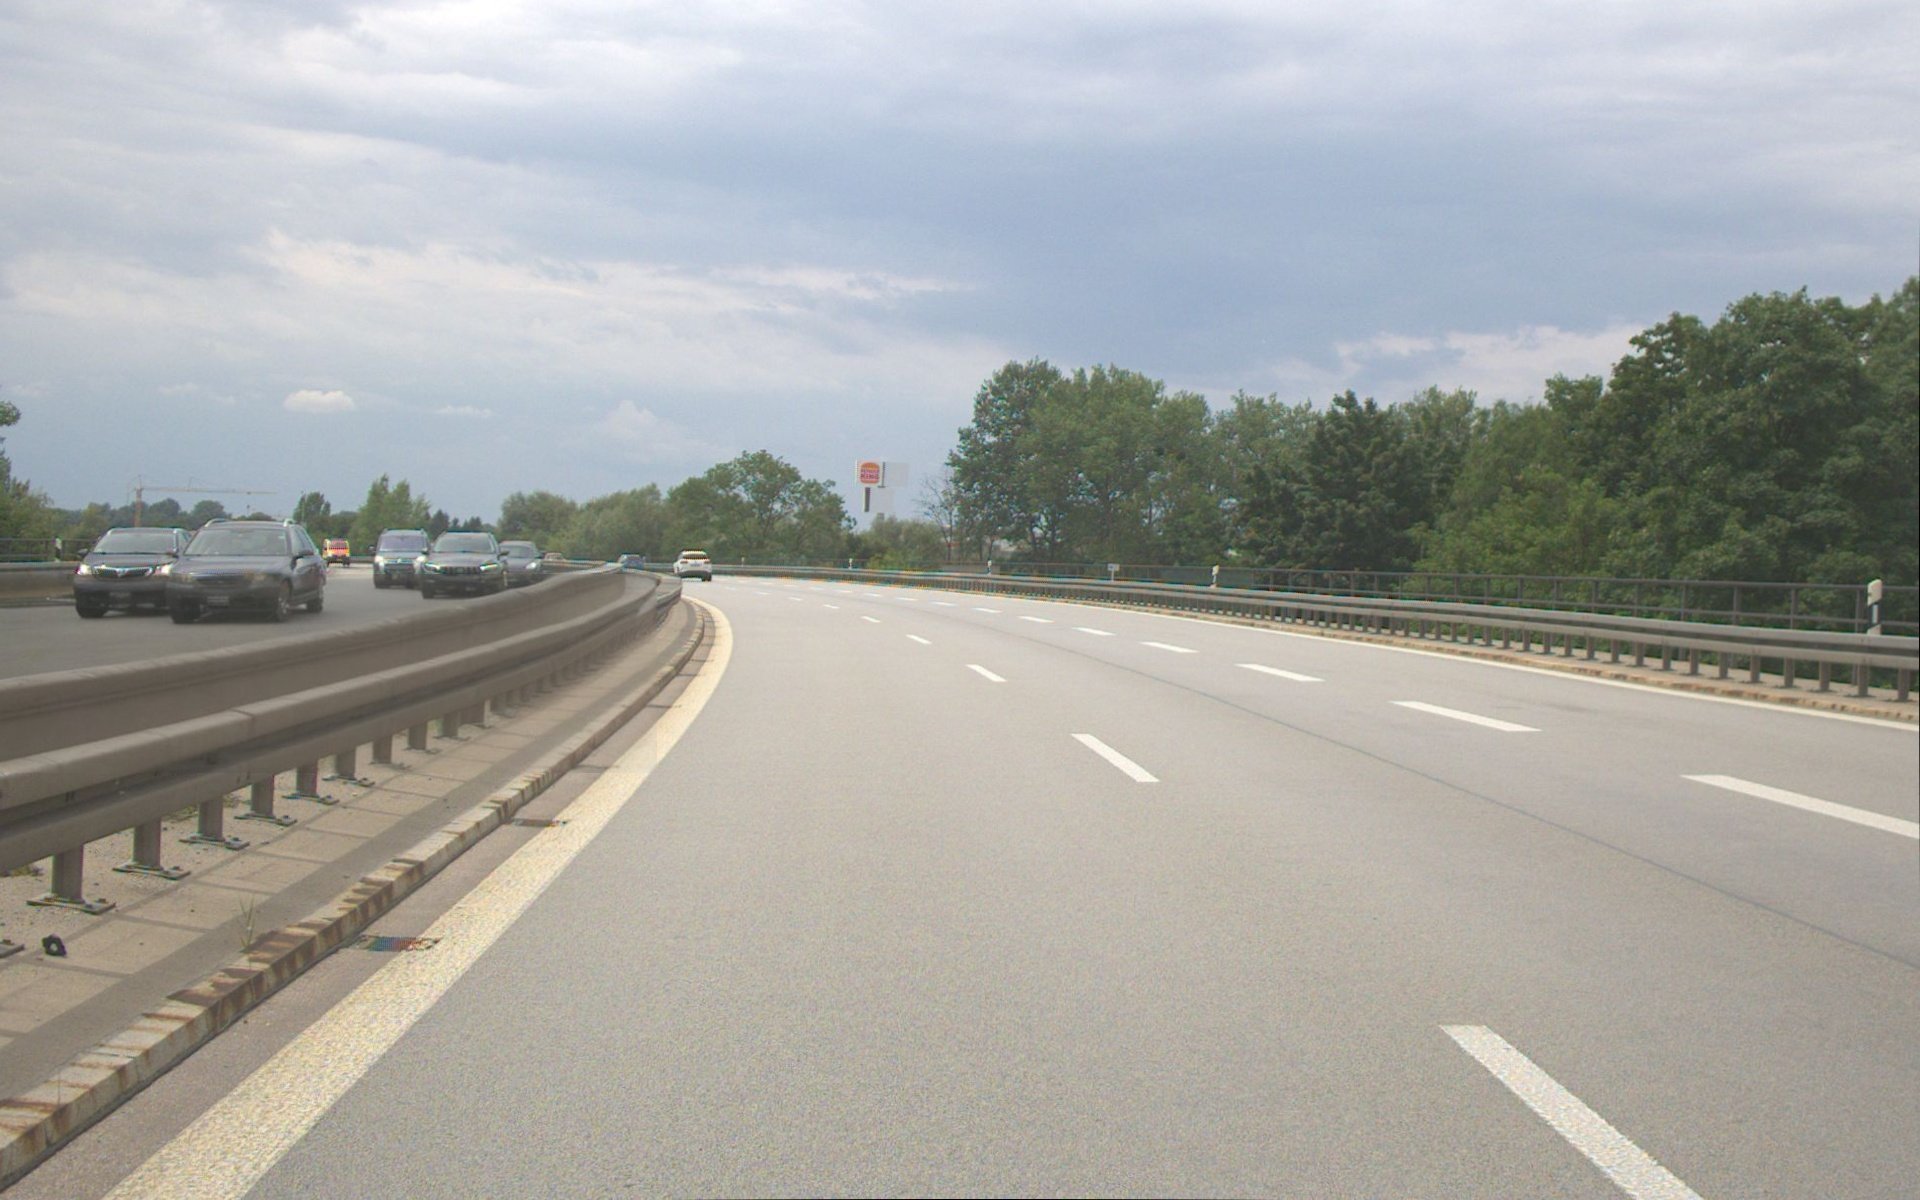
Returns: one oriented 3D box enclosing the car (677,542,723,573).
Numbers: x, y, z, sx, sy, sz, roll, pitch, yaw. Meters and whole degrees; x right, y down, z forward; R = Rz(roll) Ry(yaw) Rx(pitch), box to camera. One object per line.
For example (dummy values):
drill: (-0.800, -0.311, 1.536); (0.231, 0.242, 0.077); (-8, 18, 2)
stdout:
car: (-14.427, -2.338, 190.597); (1.902, 1.634, 4.397); (2, 0, -12)

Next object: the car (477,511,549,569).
car: (-12.934, -1.747, 99.678); (1.644, 1.544, 4.001); (3, 1, -2)

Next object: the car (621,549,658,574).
car: (-21.720, -2.629, 232.949); (1.892, 1.634, 4.623); (1, 1, -12)

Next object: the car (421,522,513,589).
car: (-11.131, -1.018, 77.815); (1.691, 1.432, 4.111); (1, 1, -3)

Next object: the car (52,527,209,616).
car: (-14.064, -0.501, 58.536); (1.737, 1.405, 4.943); (1, 1, -4)

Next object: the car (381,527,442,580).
car: (-17.530, -1.502, 110.025); (1.651, 1.536, 4.001); (5, 1, -6)

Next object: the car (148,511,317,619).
car: (-9.862, -0.492, 46.846); (1.651, 1.362, 4.149); (1, 1, -4)
